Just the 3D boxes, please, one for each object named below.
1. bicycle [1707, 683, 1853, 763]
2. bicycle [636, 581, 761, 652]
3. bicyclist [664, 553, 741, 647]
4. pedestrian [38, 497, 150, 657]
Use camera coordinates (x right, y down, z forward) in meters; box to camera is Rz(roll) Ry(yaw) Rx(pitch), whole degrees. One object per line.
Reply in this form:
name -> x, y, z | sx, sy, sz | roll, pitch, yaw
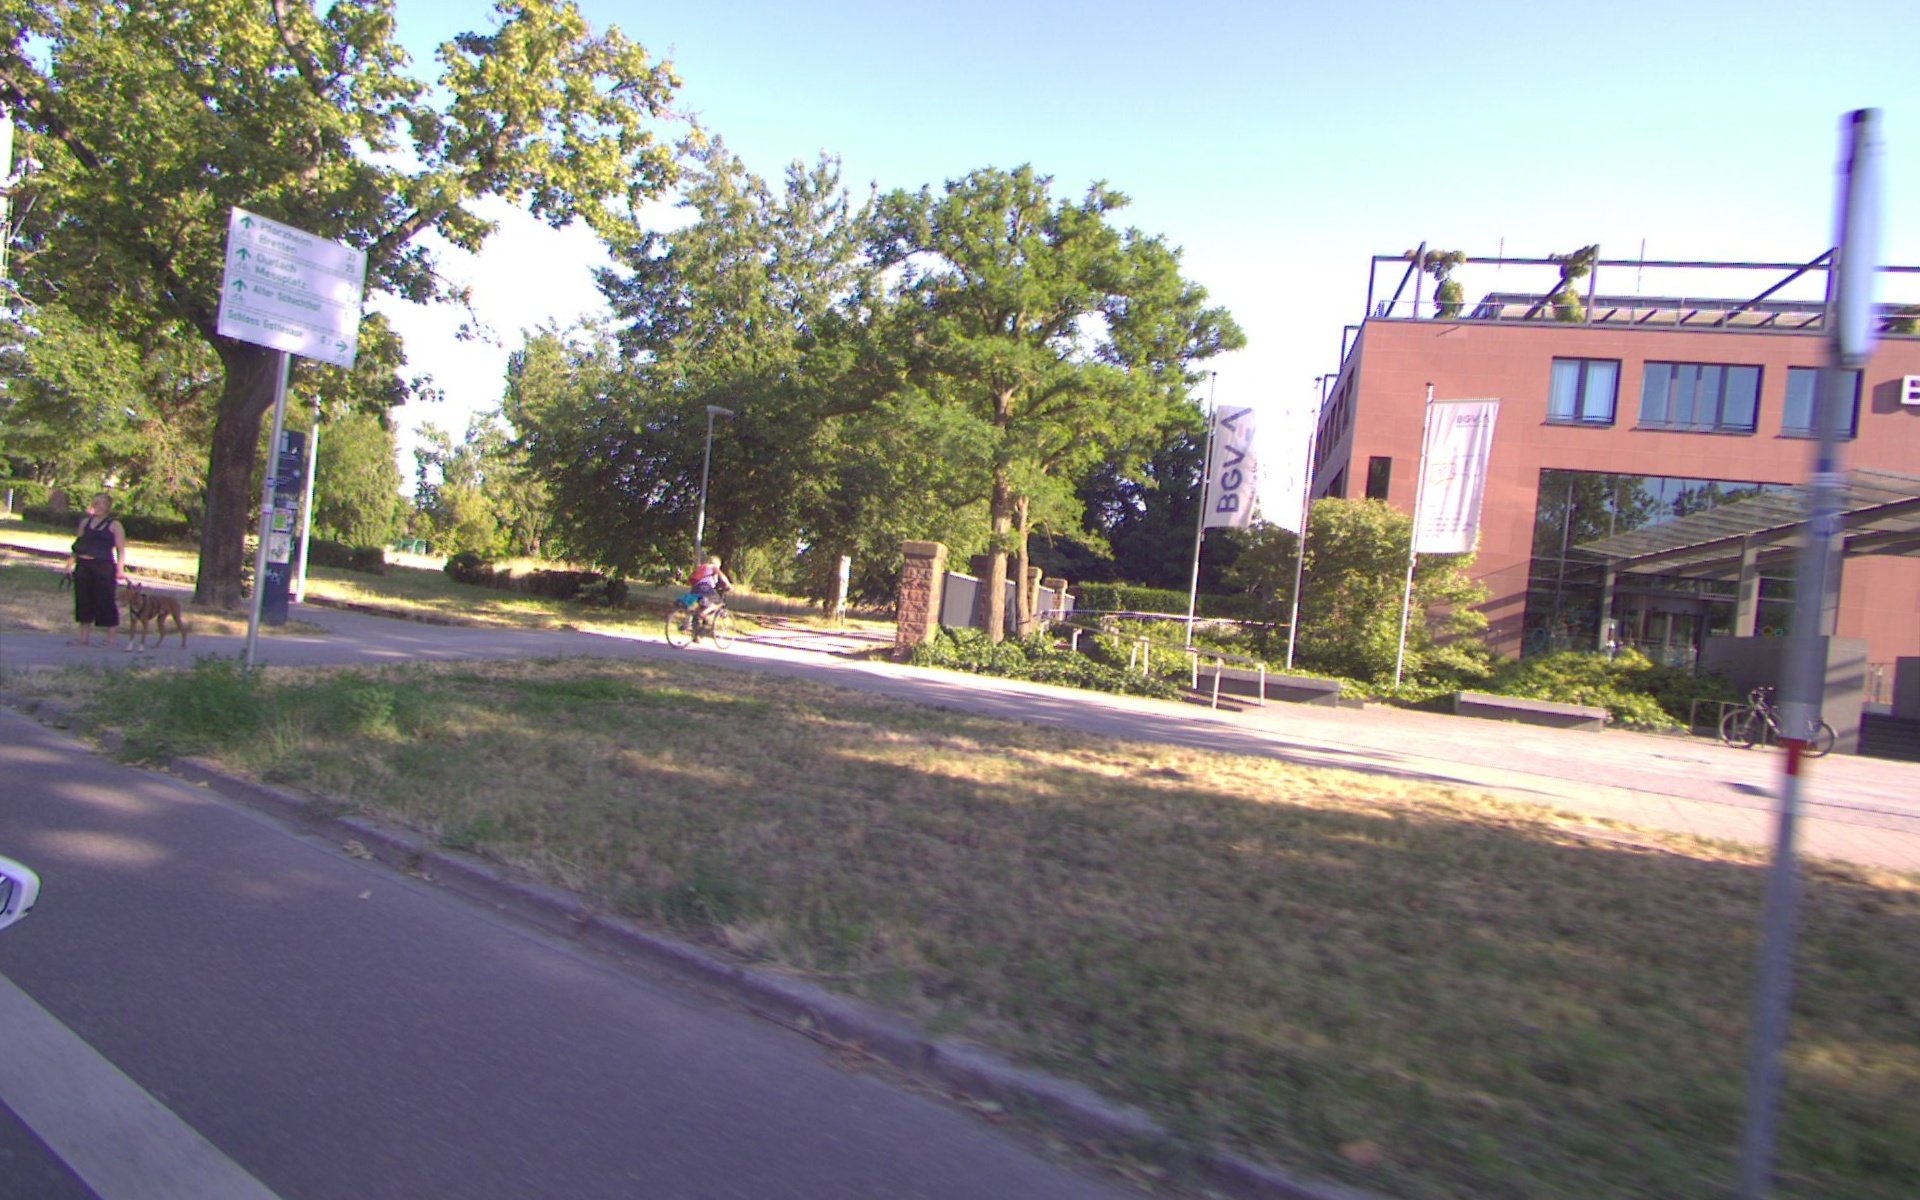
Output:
bicycle -> 15.171, 2.255, 18.688 | 1.896, 1.171, 0.822 | 6, 1, 30
bicycle -> -4.452, 0.316, 17.350 | 0.753, 1.053, 2.266 | 7, 0, 24
bicyclist -> -4.430, 0.014, 17.346 | 0.753, 1.515, 0.905 | 7, 1, 24
pedestrian -> -9.578, -0.255, 11.130 | 0.848, 1.669, 0.660 | 6, 3, 31
